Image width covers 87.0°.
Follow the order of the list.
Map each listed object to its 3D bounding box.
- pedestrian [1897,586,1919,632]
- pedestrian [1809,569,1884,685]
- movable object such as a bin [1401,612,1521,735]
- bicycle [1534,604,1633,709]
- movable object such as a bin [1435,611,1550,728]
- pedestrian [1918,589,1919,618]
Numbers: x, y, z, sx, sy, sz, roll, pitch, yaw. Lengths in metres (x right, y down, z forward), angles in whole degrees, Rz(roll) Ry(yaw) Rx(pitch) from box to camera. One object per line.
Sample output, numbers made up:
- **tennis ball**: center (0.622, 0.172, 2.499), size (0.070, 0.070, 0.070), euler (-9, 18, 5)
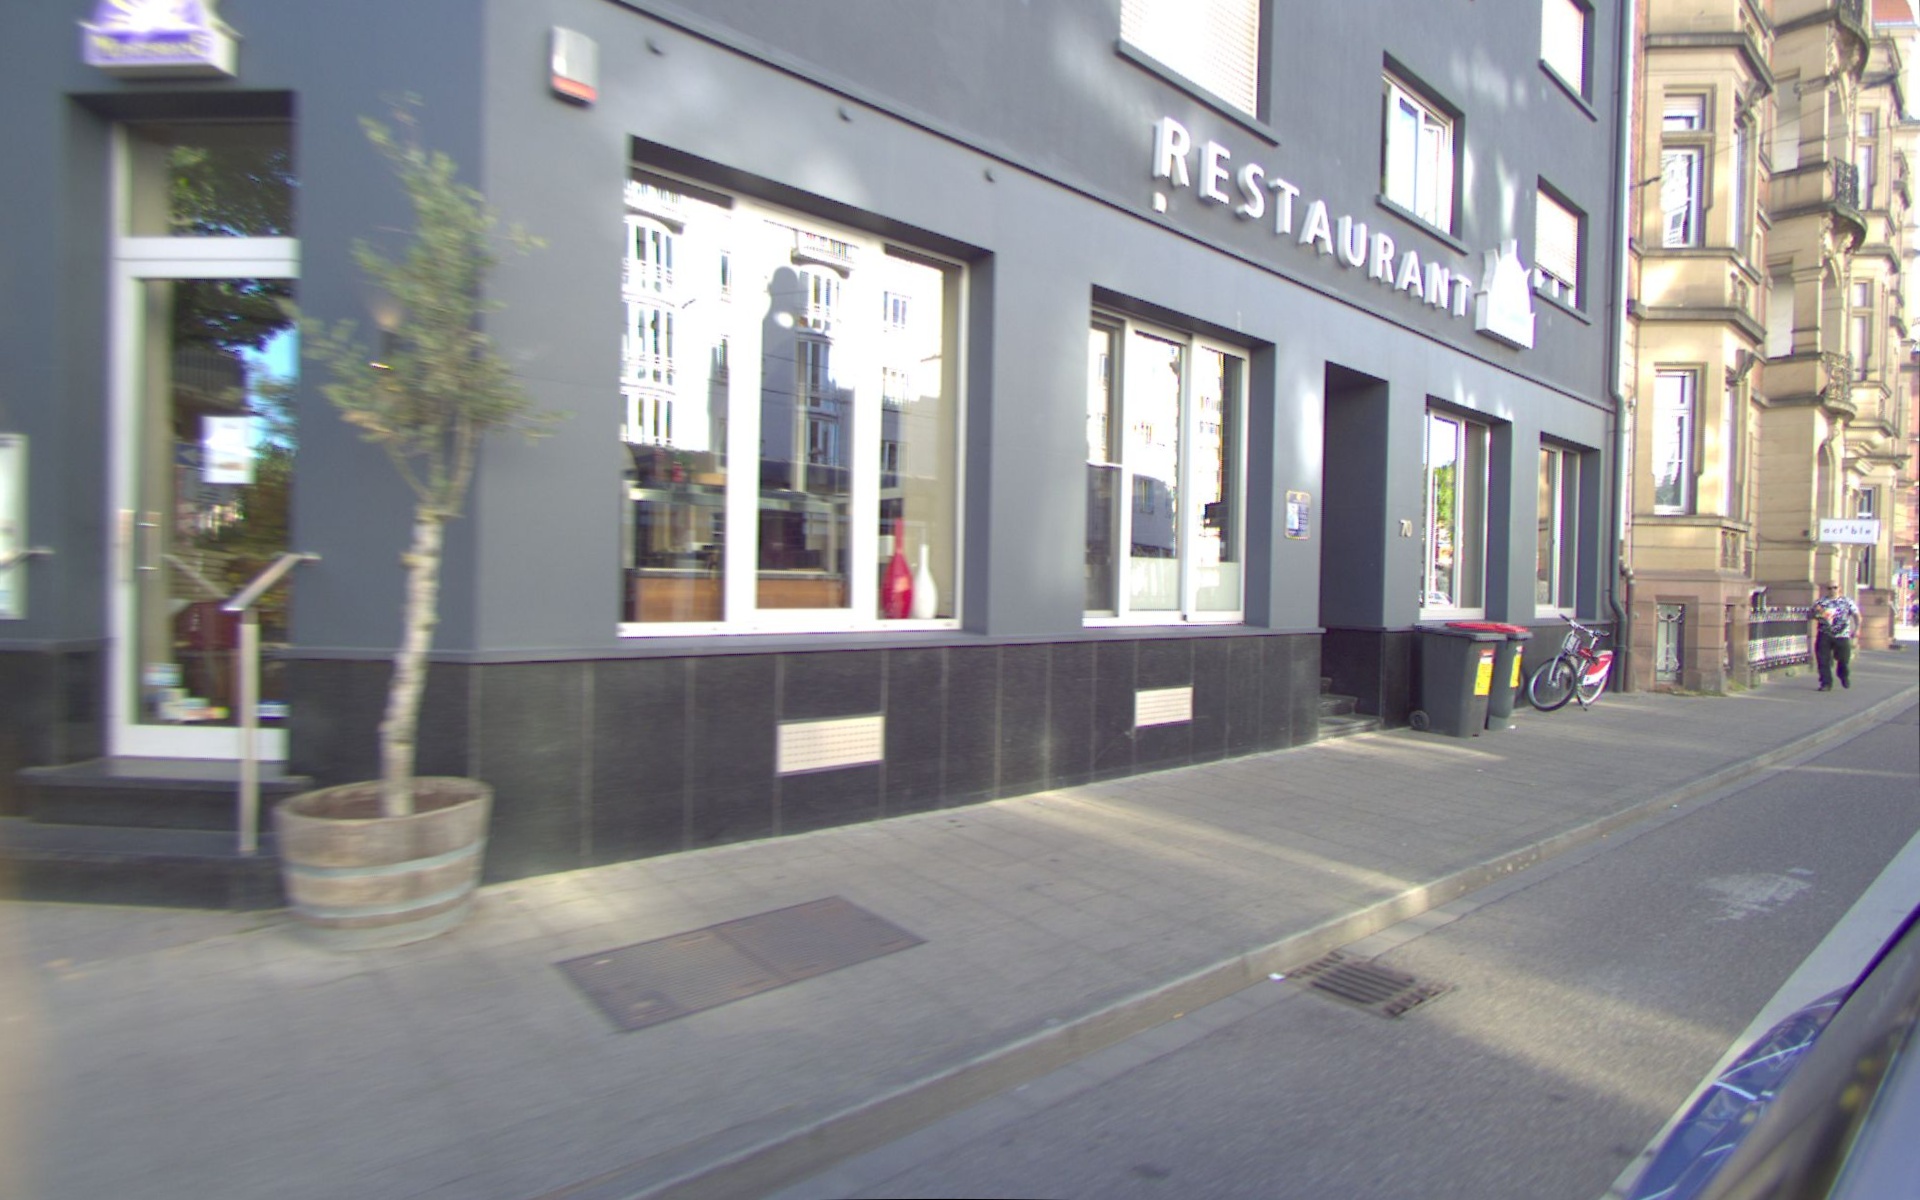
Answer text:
- **pedestrian**: center (36.269, 0.334, 38.587), size (0.621, 1.675, 0.702), euler (-1, 2, -40)
- **pedestrian**: center (14.090, 0.416, 16.076), size (1.075, 1.772, 0.780), euler (2, -1, -44)
- **movable object such as a bin**: center (4.855, 0.680, 9.818), size (0.740, 1.048, 0.750), euler (0, 5, -40)
- **bicycle**: center (7.509, 0.641, 12.158), size (1.742, 1.136, 0.460), euler (0, 3, -41)
- **movable object such as a bin**: center (5.418, 0.677, 10.310), size (0.740, 1.048, 0.750), euler (0, 5, -40)
- **pedestrian**: center (54.961, 0.208, 57.355), size (0.922, 1.652, 0.928), euler (2, 2, 42)
